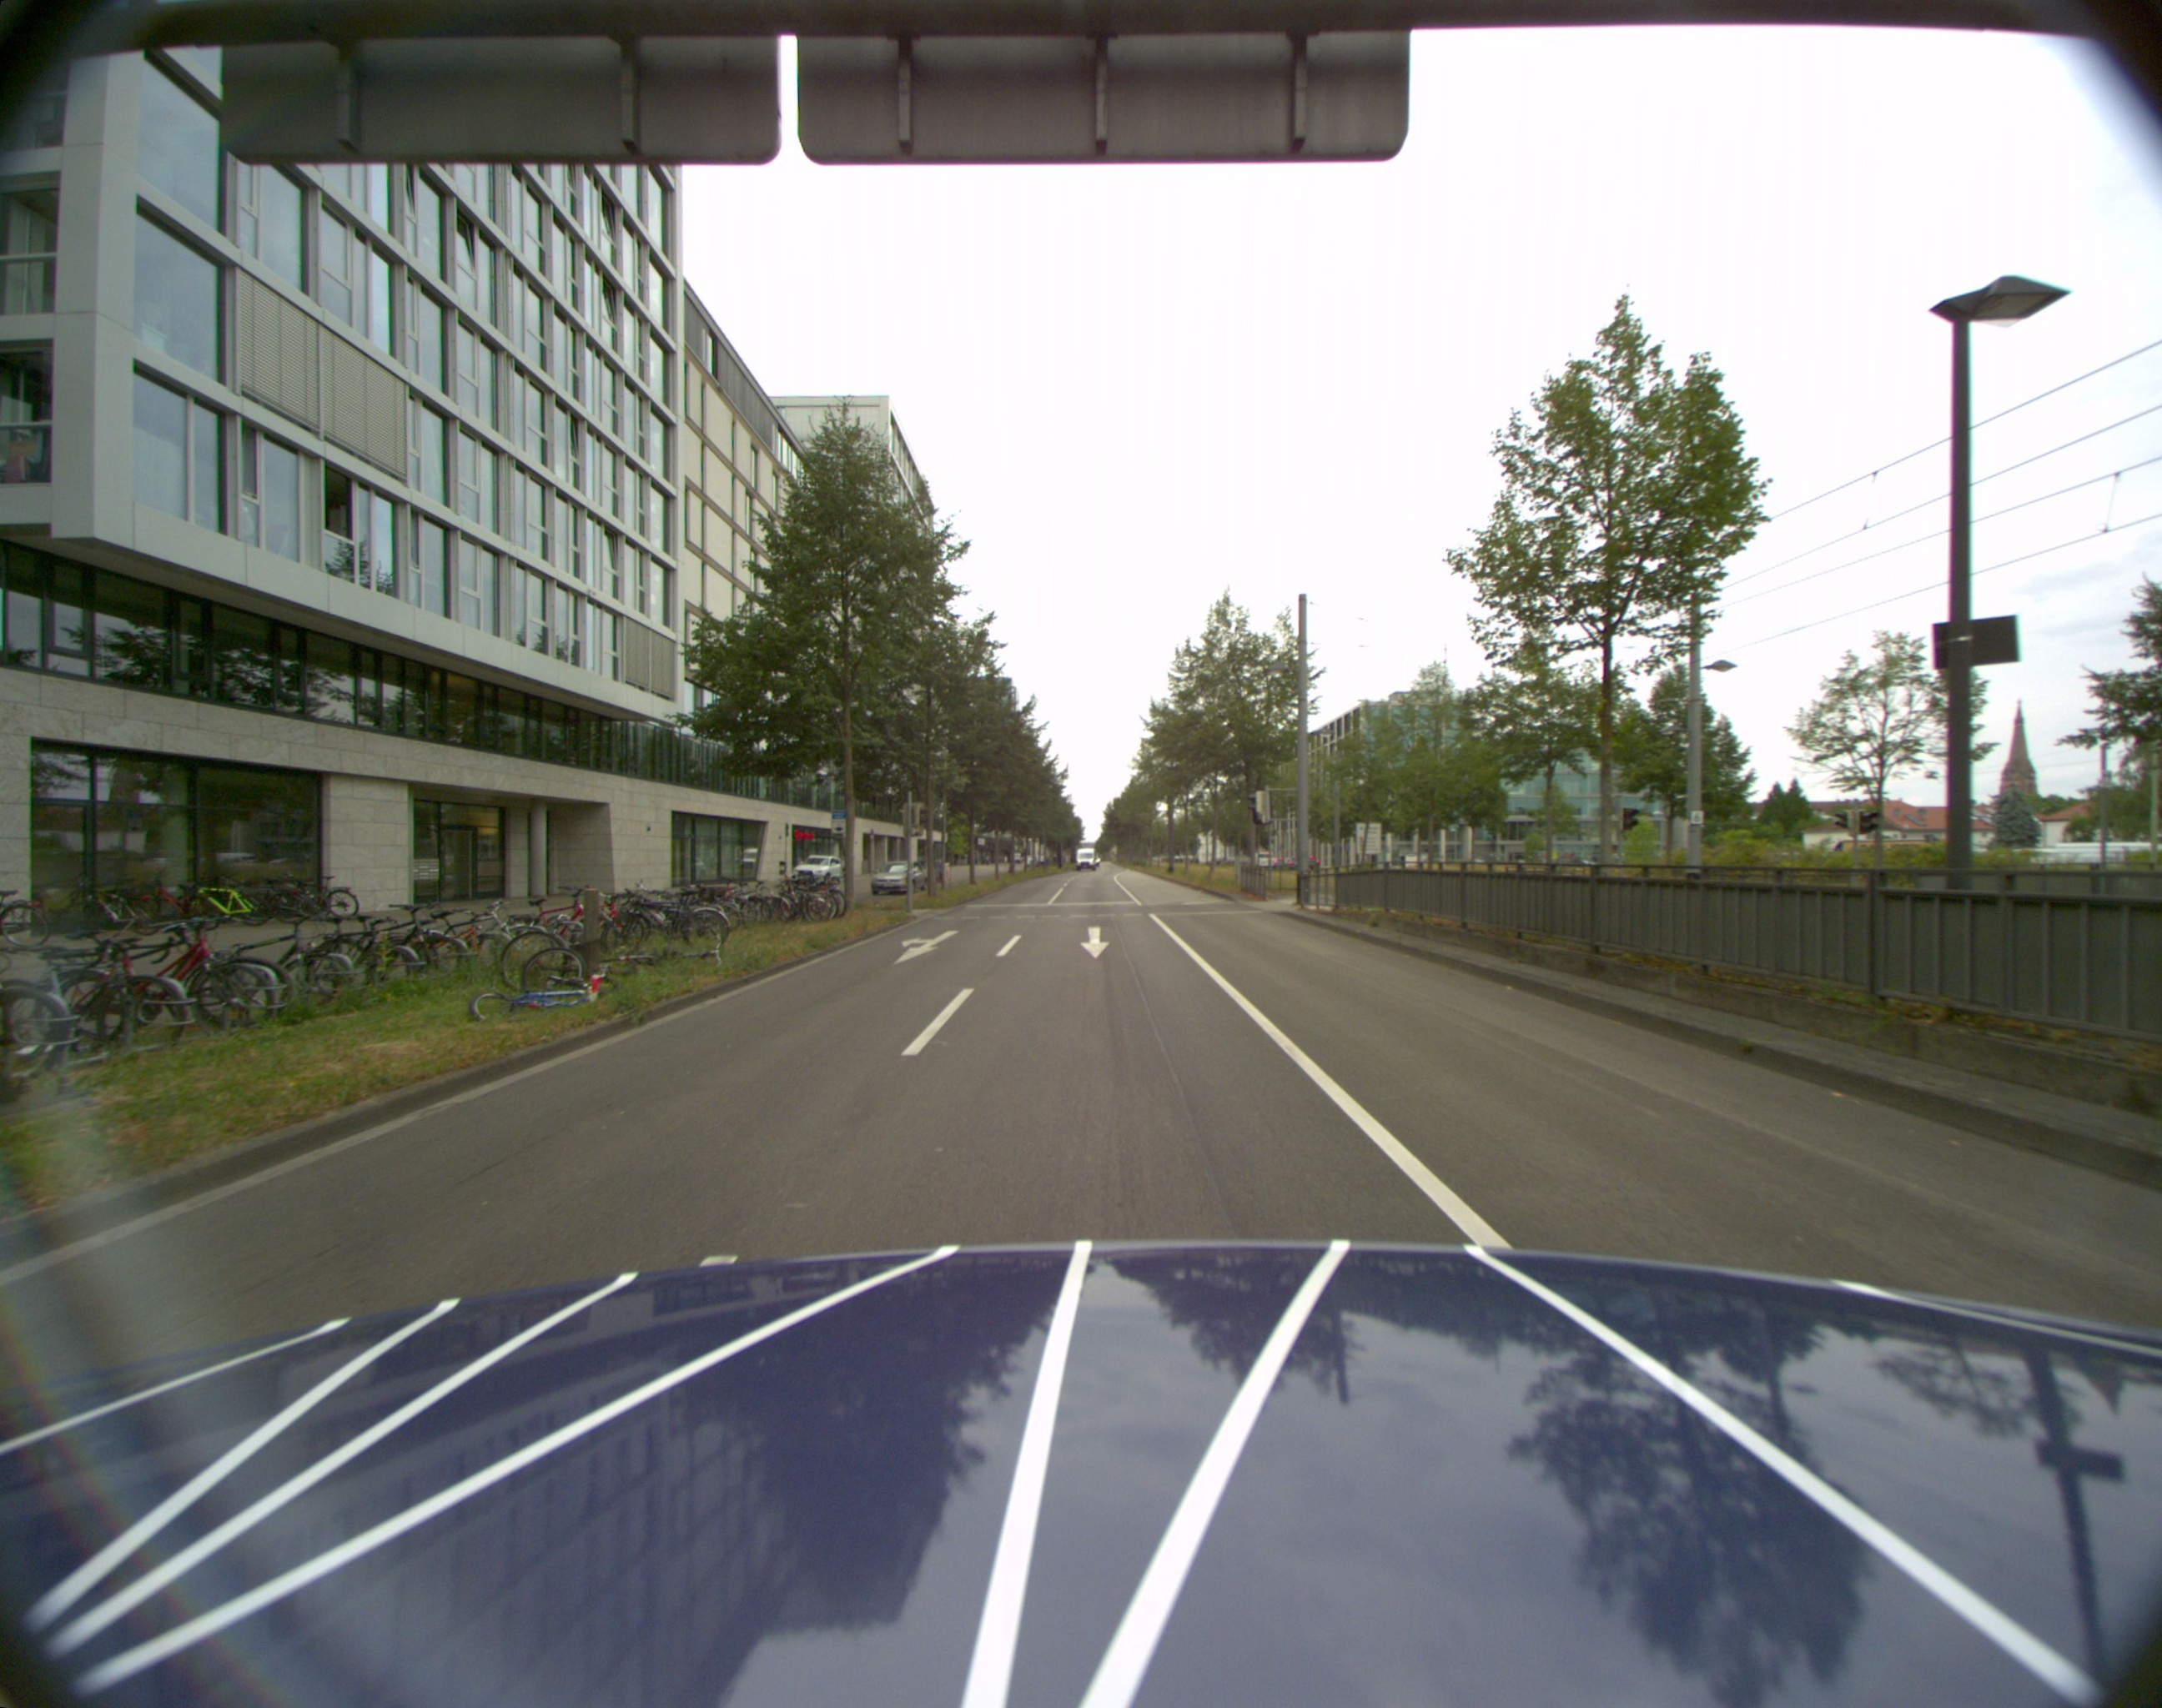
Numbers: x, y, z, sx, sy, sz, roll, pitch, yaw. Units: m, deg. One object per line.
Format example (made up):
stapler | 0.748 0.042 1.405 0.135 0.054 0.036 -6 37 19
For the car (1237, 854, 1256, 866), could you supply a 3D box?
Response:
car | 22.335 0.797 102.750 1.753 1.488 3.865 0 0 1

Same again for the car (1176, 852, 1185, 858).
car | 24.946 0.297 190.216 1.752 1.448 3.865 0 0 2

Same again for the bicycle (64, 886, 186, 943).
bicycle | -17.885 1.132 14.237 1.533 1.020 0.533 0 1 -2

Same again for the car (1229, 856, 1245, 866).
car | 23.316 1.033 113.736 1.752 1.448 3.866 0 0 3

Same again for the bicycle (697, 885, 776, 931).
bicycle | -7.845 1.229 17.327 1.533 0.948 0.484 -2 0 -2

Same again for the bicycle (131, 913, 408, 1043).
bicycle | -7.966 1.199 7.519 1.935 1.059 0.641 -3 1 -2

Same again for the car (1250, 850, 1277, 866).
car | 21.586 0.455 90.228 1.998 1.933 5.096 0 0 0

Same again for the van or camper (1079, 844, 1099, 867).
van or camper | 0.892 0.181 85.995 2.183 2.494 6.339 -1 0 0

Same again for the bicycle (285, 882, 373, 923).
bicycle | -17.907 1.141 18.108 1.533 0.948 0.533 0 1 -2

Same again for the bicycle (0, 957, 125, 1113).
bicycle | -8.114 1.299 5.328 1.865 0.946 0.652 -3 0 -2

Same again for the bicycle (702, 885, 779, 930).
bicycle | -8.093 1.267 18.102 1.533 0.948 0.552 -2 0 -2

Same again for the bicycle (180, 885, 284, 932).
bicycle | -17.858 1.149 16.002 1.533 0.948 0.533 0 1 -2

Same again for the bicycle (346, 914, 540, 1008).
bicycle | -7.909 1.308 9.476 1.749 0.968 0.609 -3 1 -7

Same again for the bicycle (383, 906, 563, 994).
bicycle | -8.030 1.252 10.098 1.749 0.968 0.609 -3 1 -7

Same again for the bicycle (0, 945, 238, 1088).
bicycle | -8.070 1.291 6.069 1.865 0.946 0.612 -3 1 -2

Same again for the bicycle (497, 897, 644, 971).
bicycle | -7.872 1.217 11.782 1.749 0.968 0.609 -3 1 -7

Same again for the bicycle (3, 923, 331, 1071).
bicycle | -8.050 1.236 6.761 1.935 1.059 0.705 -3 0 -2

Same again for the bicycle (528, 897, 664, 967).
bicycle | -7.896 1.252 12.433 1.720 0.968 0.609 -3 1 -7

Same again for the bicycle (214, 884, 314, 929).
bicycle | -17.839 1.142 16.607 1.533 0.948 0.533 0 1 -2

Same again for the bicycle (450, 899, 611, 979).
bicycle | -7.885 1.198 10.942 1.749 0.968 0.609 -3 1 -7

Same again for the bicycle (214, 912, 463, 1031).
bicycle | -7.999 1.244 8.251 1.935 1.059 0.543 -3 1 -8

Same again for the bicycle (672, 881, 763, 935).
bicycle | -7.914 1.169 16.591 1.672 1.084 0.525 -2 0 -2

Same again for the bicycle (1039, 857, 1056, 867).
bicycle | -3.603 0.898 82.526 1.790 1.013 0.422 -2 1 -14

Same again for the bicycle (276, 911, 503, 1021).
bicycle | -7.978 1.272 8.830 1.935 1.059 0.543 -3 1 -8

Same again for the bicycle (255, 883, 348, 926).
bicycle | -17.886 1.150 17.460 1.533 0.948 0.533 0 1 -2

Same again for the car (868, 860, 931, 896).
car | -8.042 1.028 34.018 1.764 1.413 4.183 -1 0 1

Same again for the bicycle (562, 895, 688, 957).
bicycle | -7.823 1.223 13.091 1.720 0.900 0.588 -3 1 -7

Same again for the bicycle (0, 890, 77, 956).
bicycle | -17.602 1.116 12.415 1.602 1.020 0.533 1 1 -2

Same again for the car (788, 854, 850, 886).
car | -14.400 0.827 42.014 1.862 1.579 4.240 2 0 1

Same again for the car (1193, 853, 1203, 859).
car | 25.987 0.435 168.588 1.752 1.448 3.865 0 0 2

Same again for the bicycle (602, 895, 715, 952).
bicycle | -7.948 1.294 14.342 1.720 0.900 0.588 -3 1 -7

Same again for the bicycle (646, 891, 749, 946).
bicycle | -7.927 1.327 15.763 1.778 1.006 0.610 -2 0 -7

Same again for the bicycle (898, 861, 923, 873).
bicycle | -17.745 1.365 79.164 2.426 1.170 1.202 0 0 -6

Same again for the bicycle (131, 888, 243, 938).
bicycle | -17.839 1.171 15.178 1.533 0.948 0.533 0 1 -2

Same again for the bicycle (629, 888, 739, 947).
bicycle | -7.848 1.235 15.068 1.778 1.006 0.610 -3 1 -7

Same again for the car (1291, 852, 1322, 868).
car | 24.070 0.593 81.282 1.832 1.646 4.691 0 0 -1

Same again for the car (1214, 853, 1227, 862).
car | 24.460 0.617 133.012 1.752 1.448 3.865 0 0 2

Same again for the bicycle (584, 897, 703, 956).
bicycle | -7.875 1.291 13.727 1.720 0.900 0.588 -3 1 -7

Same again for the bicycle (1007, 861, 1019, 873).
bicycle | -5.748 1.094 64.244 0.634 0.871 2.116 -2 1 3

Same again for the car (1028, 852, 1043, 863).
car | -6.641 0.522 110.909 1.954 1.521 4.000 0 0 0

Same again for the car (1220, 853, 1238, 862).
car | 23.581 0.572 121.131 1.998 1.410 4.000 0 0 0
